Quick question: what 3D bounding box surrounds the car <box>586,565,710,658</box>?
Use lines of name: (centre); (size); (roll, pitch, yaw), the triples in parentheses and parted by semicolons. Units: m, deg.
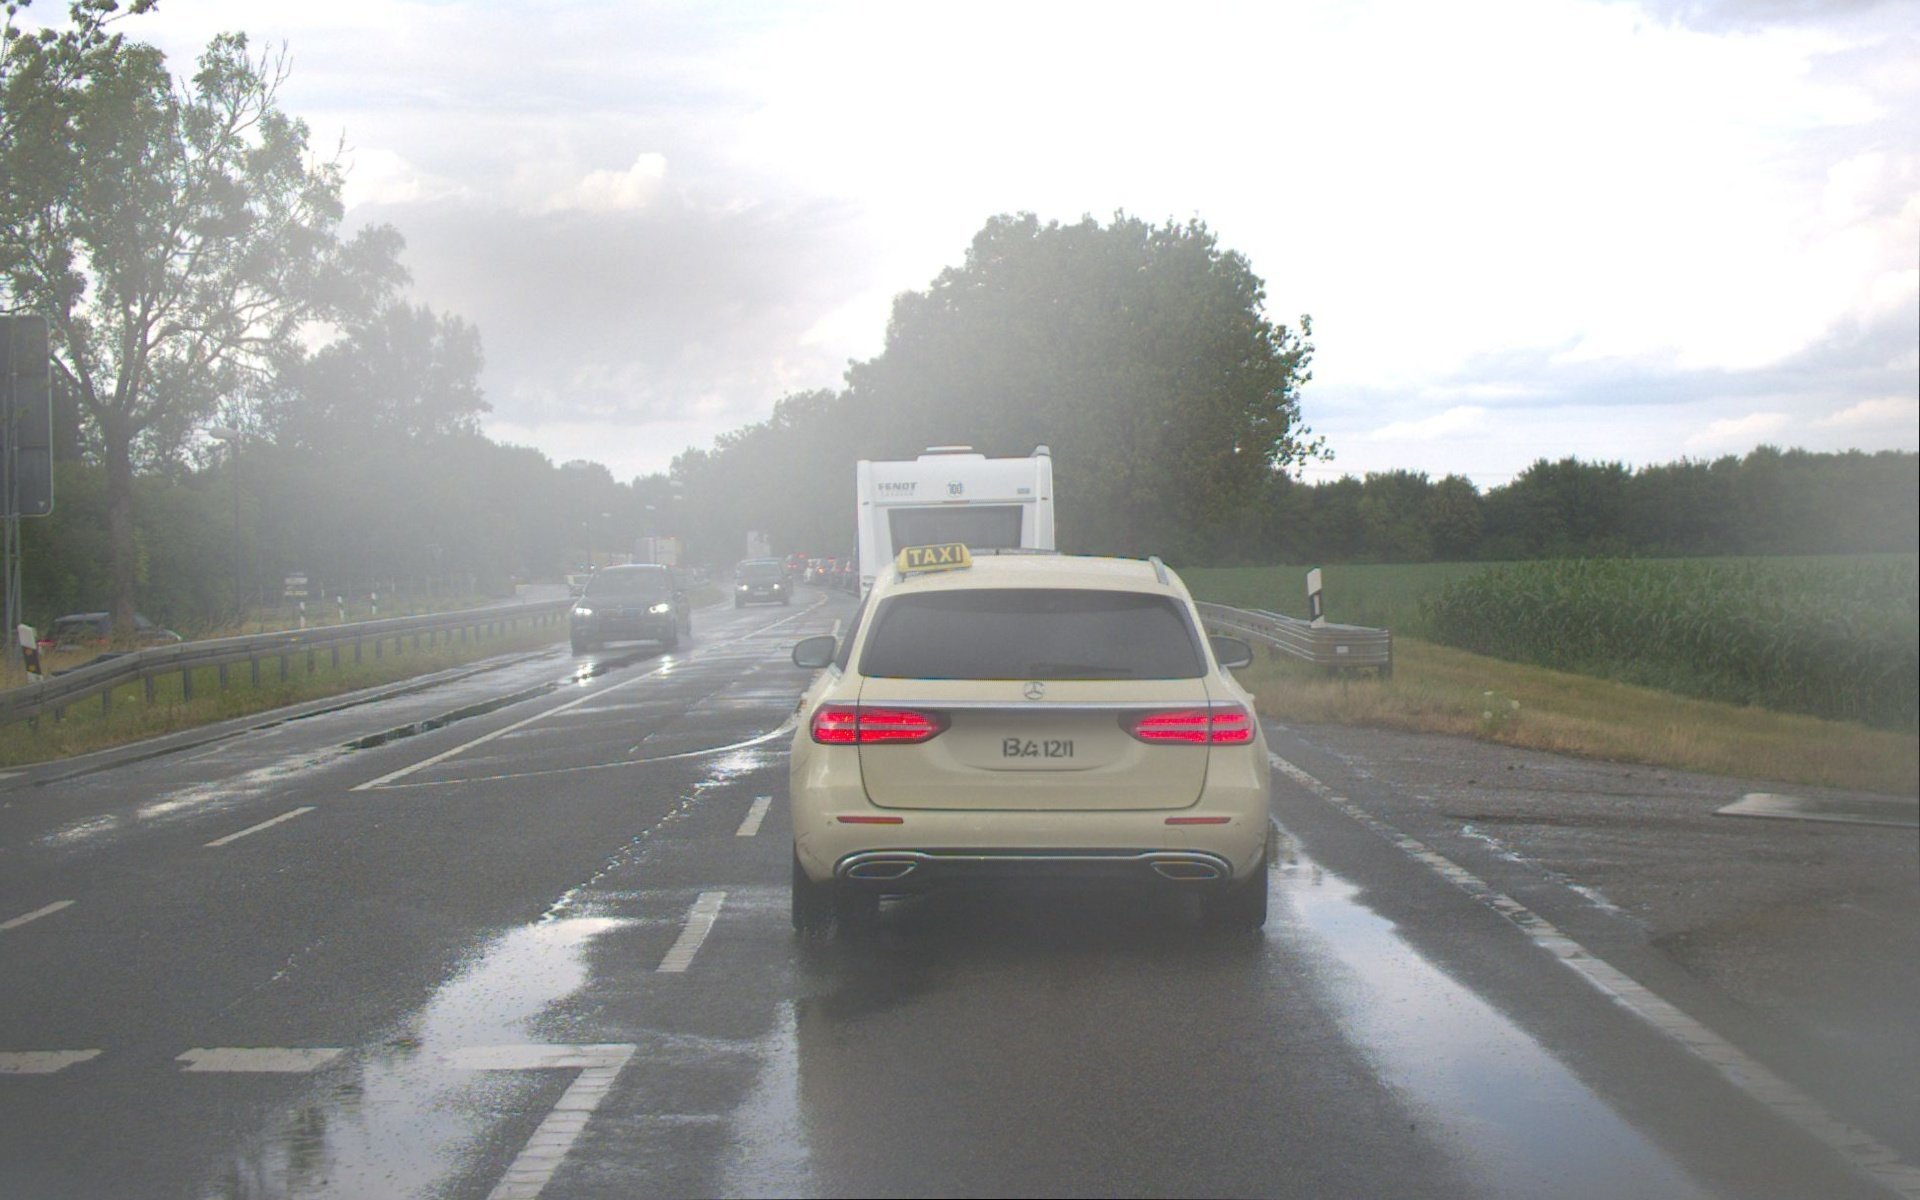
car: (-5.505, 0.178, 61.023); (1.828, 1.568, 4.000); (1, 0, 0)

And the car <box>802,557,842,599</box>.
car: (-6.836, -1.101, 170.638); (1.852, 2.007, 3.811); (-1, 1, -1)

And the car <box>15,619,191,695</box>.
car: (-19.020, 1.233, 76.489); (2.302, 1.542, 4.631); (1, 0, 7)

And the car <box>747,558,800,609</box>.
car: (-6.095, -0.557, 112.805); (1.580, 1.634, 3.442); (-1, 1, -1)

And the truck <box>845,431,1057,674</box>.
truck: (-0.139, -0.596, 42.824); (2.363, 2.719, 7.314); (-1, 1, -1)

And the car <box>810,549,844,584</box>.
car: (-7.371, -1.854, 190.293); (1.740, 1.853, 3.785); (-1, 1, -1)

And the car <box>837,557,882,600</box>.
car: (-4.199, -0.915, 143.872); (1.791, 1.771, 3.721); (-1, 1, -1)

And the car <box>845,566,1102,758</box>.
car: (0.087, 0.478, 29.344); (1.993, 1.457, 4.000); (2, 0, -1)

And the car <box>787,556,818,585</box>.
car: (-9.169, -1.734, 199.867); (1.748, 1.656, 3.673); (0, 1, -4)

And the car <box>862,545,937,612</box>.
car: (-1.706, -0.634, 98.084); (1.915, 1.834, 3.795); (-1, 1, 2)

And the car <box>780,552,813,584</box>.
car: (-9.937, -1.950, 208.771); (1.895, 1.888, 3.844); (-1, 1, -4)

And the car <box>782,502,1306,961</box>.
car: (0.274, 0.443, 14.150); (1.842, 1.612, 4.000); (0, 1, -1)
